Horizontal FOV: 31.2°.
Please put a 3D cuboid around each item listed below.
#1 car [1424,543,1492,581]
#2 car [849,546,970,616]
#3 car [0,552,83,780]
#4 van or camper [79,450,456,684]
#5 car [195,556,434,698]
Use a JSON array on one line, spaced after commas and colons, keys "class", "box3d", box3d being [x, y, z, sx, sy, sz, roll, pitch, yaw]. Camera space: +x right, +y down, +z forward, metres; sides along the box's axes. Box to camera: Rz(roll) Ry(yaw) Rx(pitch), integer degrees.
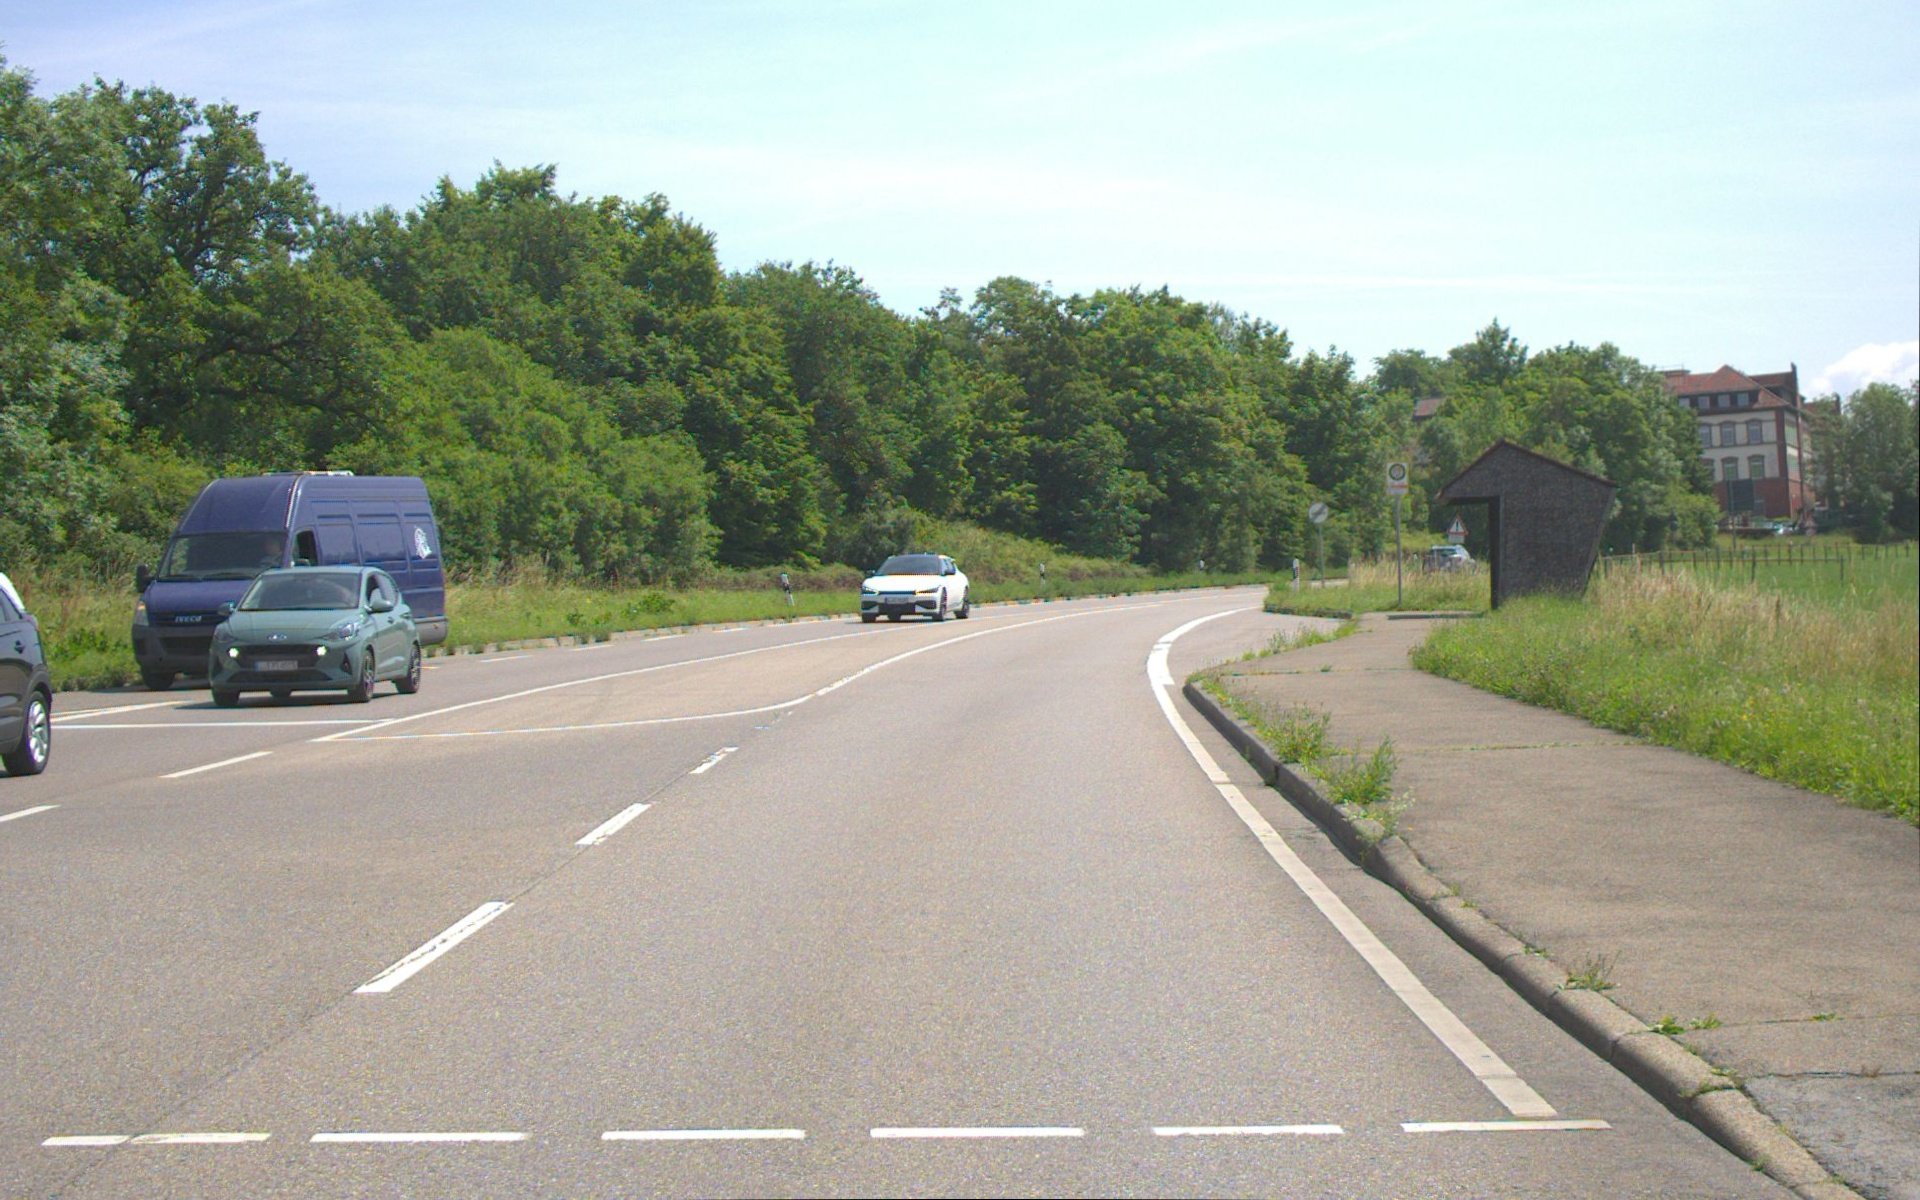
[{"class": "car", "box3d": [21.473, -1.636, 148.116, 1.996, 1.568, 3.996, -1, 1, 22]}, {"class": "car", "box3d": [-1.132, -0.452, 79.721, 1.938, 1.543, 4.625, -1, 1, 10]}, {"class": "car", "box3d": [-7.525, 0.463, 23.428, 1.974, 1.557, 4.189, -1, 1, 0]}, {"class": "van or camper", "box3d": [-9.265, -0.541, 46.881, 2.241, 2.904, 7.243, -1, 2, 12]}, {"class": "car", "box3d": [-7.103, 0.268, 38.185, 1.707, 1.478, 3.832, -1, 1, 3]}]
